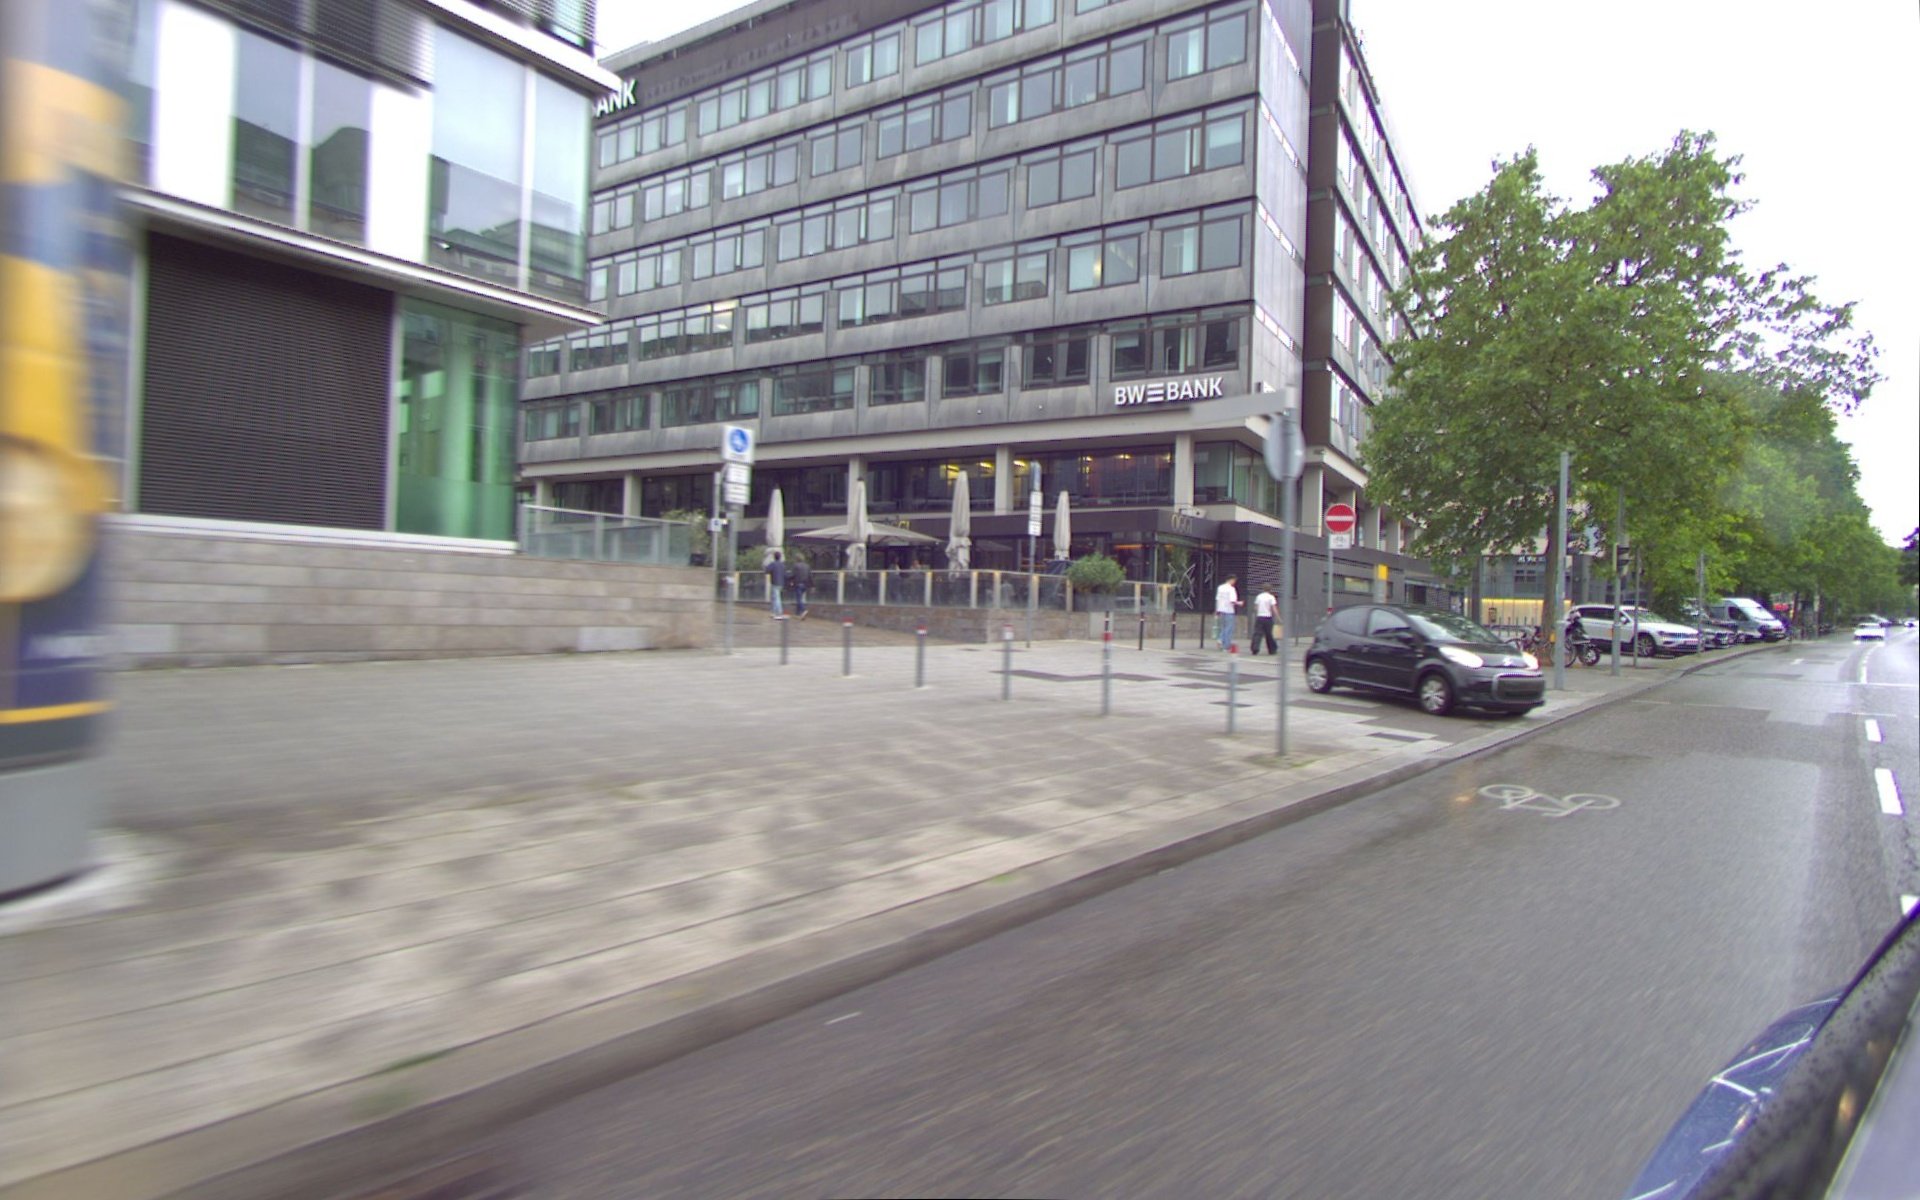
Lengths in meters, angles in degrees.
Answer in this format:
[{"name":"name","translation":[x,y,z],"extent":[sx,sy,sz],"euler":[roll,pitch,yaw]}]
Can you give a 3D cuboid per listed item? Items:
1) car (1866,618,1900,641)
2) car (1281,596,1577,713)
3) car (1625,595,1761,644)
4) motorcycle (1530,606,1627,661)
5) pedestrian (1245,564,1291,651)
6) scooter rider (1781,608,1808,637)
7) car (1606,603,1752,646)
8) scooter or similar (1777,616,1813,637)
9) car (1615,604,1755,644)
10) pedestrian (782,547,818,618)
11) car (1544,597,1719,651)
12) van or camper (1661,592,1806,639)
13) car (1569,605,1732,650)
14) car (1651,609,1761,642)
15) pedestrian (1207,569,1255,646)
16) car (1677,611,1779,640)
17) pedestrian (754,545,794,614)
[{"name":"car","translation":[75.258,2.388,82.561],"extent":[1.784,1.768,4.508],"euler":[2,0,40]},{"name":"car","translation":[6.588,0.681,14.680],"extent":[1.601,1.435,3.842],"euler":[1,0,-22]},{"name":"car","translation":[31.587,0.815,43.789],"extent":[1.881,2.018,4.527],"euler":[1,-1,-18]},{"name":"motorcycle","translation":[16.347,0.872,26.800],"extent":[0.665,1.375,2.087],"euler":[2,-1,-39]},{"name":"pedestrian","translation":[7.509,0.187,24.677],"extent":[0.848,2.065,0.742],"euler":[0,-1,39]},{"name":"scooter rider","translation":[57.499,1.532,69.733],"extent":[1.001,1.927,0.983],"euler":[2,0,-13]},{"name":"car","translation":[28.008,0.923,39.581],"extent":[1.876,1.557,4.366],"euler":[1,-1,-20]},{"name":"scooter or similar","translation":[57.523,1.828,69.736],"extent":[1.831,1.372,0.983],"euler":[2,0,-12]},{"name":"car","translation":[29.745,0.948,41.711],"extent":[1.876,1.557,4.400],"euler":[1,-1,-20]},{"name":"pedestrian","translation":[-4.217,-0.453,26.715],"extent":[0.649,1.846,0.671],"euler":[0,-1,42]},{"name":"car","translation":[22.428,0.759,34.050],"extent":[1.876,1.671,4.814],"euler":[1,0,-17]},{"name":"van or camper","translation":[42.890,0.826,56.379],"extent":[2.266,2.478,6.278],"euler":[1,-1,-17]},{"name":"car","translation":[24.576,0.950,36.271],"extent":[1.876,1.493,4.732],"euler":[1,0,-15]},{"name":"car","translation":[35.526,1.200,48.318],"extent":[1.672,1.442,4.021],"euler":[1,-1,-18]},{"name":"pedestrian","translation":[6.785,0.194,25.346],"extent":[0.882,1.892,0.802],"euler":[2,-1,-40]},{"name":"car","translation":[40.559,1.309,53.546],"extent":[1.672,1.442,4.070],"euler":[1,0,-18]},{"name":"pedestrian","translation":[-4.819,-0.528,26.219],"extent":[0.767,1.747,0.643],"euler":[2,-1,-42]}]
